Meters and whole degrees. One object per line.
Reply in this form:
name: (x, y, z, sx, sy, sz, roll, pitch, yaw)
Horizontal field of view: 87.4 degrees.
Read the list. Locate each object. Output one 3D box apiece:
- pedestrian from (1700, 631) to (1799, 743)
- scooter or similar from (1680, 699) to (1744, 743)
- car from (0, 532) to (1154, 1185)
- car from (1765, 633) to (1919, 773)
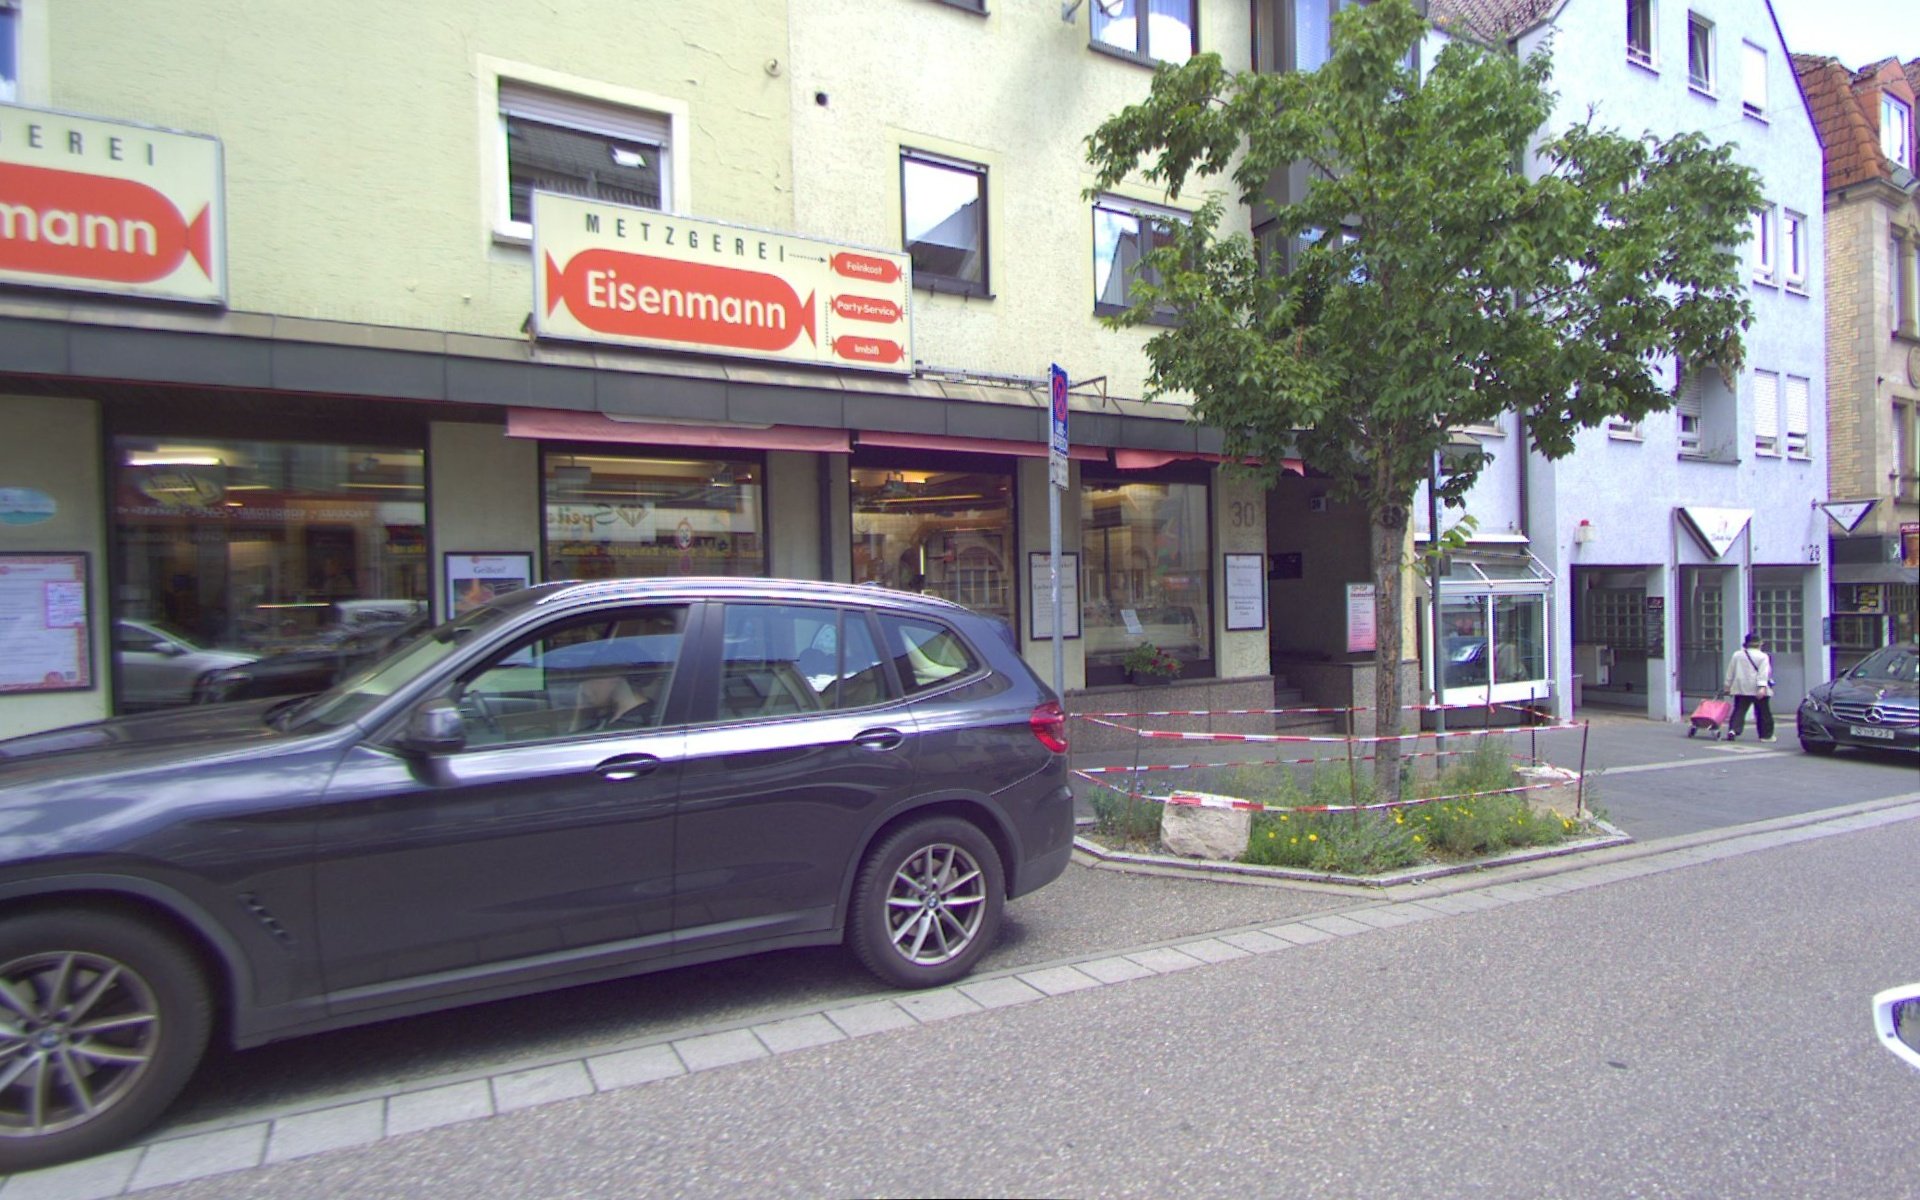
pedestrian: (11.180, 1.205, 14.236, 0.800, 1.483, 0.822, 2, 1, -30)
scooter or similar: (10.471, 1.681, 13.996, 0.566, 0.526, 0.522, 2, 1, -30)
car: (-1.567, 0.694, 4.360, 4.553, 1.716, 1.997, 1, 0, -31)
car: (12.765, 1.274, 13.156, 4.788, 1.512, 1.916, 2, 1, -31)
